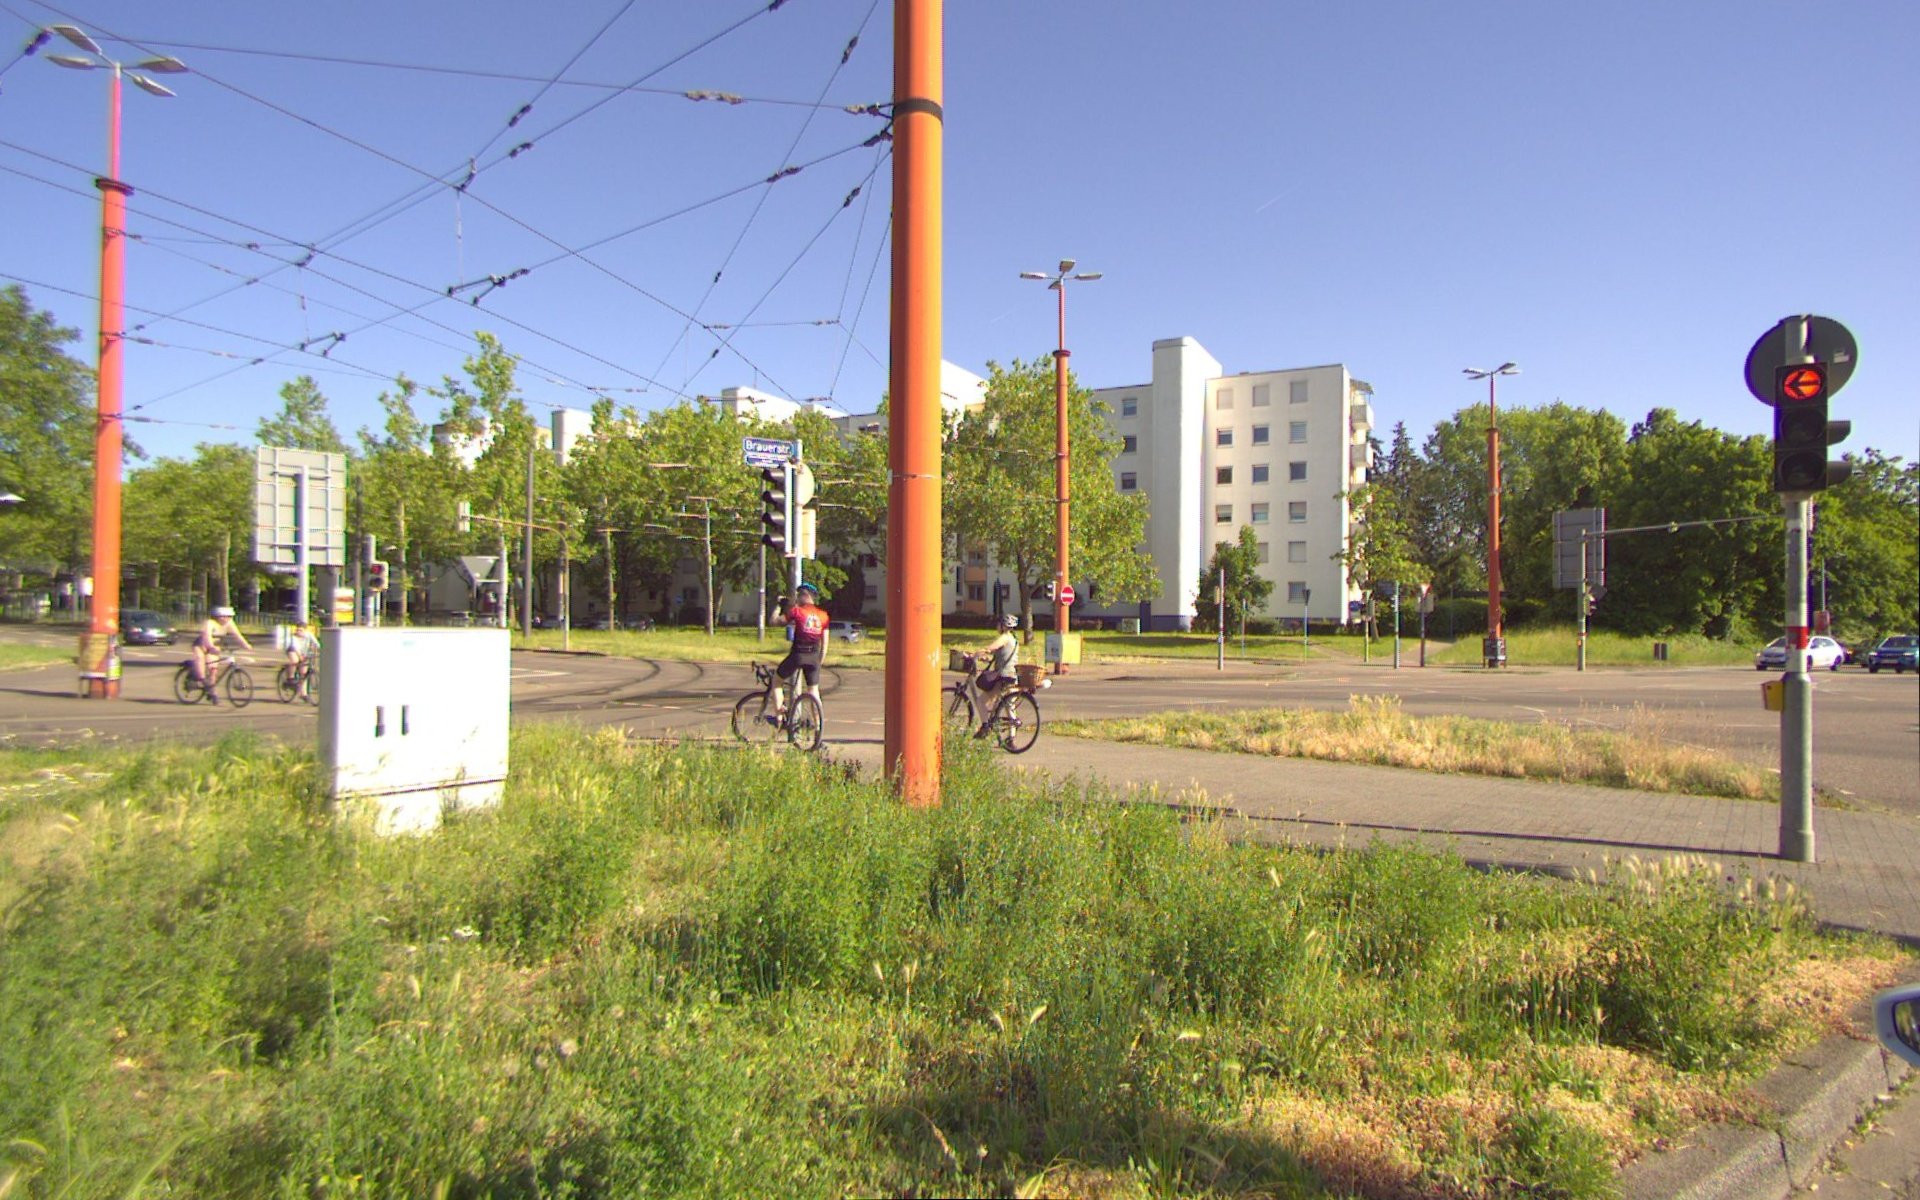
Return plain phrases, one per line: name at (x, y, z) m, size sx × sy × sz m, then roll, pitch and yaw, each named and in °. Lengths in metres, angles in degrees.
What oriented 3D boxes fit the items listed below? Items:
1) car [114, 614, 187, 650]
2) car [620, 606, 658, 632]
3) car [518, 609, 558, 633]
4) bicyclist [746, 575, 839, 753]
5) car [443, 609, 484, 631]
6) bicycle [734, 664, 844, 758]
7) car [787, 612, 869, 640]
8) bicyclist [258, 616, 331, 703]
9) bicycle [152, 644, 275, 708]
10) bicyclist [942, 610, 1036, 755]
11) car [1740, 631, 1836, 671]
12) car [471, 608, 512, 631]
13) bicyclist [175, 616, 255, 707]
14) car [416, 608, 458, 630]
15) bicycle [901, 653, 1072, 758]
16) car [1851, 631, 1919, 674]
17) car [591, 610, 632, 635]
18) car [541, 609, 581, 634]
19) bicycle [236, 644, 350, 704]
car at (-38.039, 1.497, 47.192) m, size 3.848 × 1.615 × 1.935 m, roll 0°, pitch -2°, yaw 39°
car at (-23.409, 1.394, 73.417) m, size 1.963 × 1.840 × 3.995 m, roll 1°, pitch -1°, yaw -8°
car at (-33.814, 1.665, 80.527) m, size 1.963 × 1.840 × 3.995 m, roll 1°, pitch -1°, yaw -8°
bicyclist at (-2.009, 0.745, 12.006) m, size 0.921 × 2.040 × 0.736 m, roll 1°, pitch -1°, yaw -25°
car at (-42.679, 1.694, 86.446) m, size 1.963 × 1.840 × 3.995 m, roll 1°, pitch -1°, yaw -8°
bicycle at (-2.118, 1.307, 12.236) m, size 0.915 × 0.976 × 1.747 m, roll 1°, pitch -1°, yaw -24°
car at (-7.226, 1.424, 54.851) m, size 4.143 × 1.471 × 1.797 m, roll 0°, pitch -1°, yaw 27°
bicyclist at (-13.215, 1.161, 19.968) m, size 0.726 × 1.659 × 0.934 m, roll 0°, pitch -1°, yaw 18°
bicycle at (-14.032, 1.411, 18.896) m, size 1.849 × 1.102 × 0.928 m, roll 0°, pitch -1°, yaw 18°
bicyclist at (0.356, 0.956, 12.098) m, size 0.728 × 1.659 × 0.931 m, roll 0°, pitch -1°, yaw 35°
car at (35.140, 2.147, 42.608) m, size 4.075 × 1.594 × 1.983 m, roll 1°, pitch -1°, yaw -32°
car at (-39.290, 1.636, 84.325) m, size 1.963 × 1.840 × 3.995 m, roll 1°, pitch -1°, yaw -8°
bicyclist at (-14.005, 1.132, 18.897) m, size 0.726 × 1.659 × 0.934 m, roll 0°, pitch -1°, yaw 18°
car at (-46.029, 1.670, 88.475) m, size 1.963 × 1.840 × 3.995 m, roll 1°, pitch -1°, yaw -8°
bicycle at (0.312, 1.226, 12.122) m, size 1.855 × 1.102 × 0.925 m, roll 0°, pitch -1°, yaw 34°
car at (37.264, 2.035, 39.867) m, size 4.079 × 1.594 × 1.981 m, roll 2°, pitch -1°, yaw -35°
car at (-26.115, 1.681, 75.328) m, size 1.962 × 1.840 × 3.997 m, roll 1°, pitch -1°, yaw -5°
car at (-31.198, 1.670, 78.678) m, size 1.963 × 1.840 × 3.995 m, roll 1°, pitch -1°, yaw -8°
bicycle at (-13.254, 1.441, 19.980) m, size 1.849 × 1.102 × 0.928 m, roll 0°, pitch -1°, yaw 18°
